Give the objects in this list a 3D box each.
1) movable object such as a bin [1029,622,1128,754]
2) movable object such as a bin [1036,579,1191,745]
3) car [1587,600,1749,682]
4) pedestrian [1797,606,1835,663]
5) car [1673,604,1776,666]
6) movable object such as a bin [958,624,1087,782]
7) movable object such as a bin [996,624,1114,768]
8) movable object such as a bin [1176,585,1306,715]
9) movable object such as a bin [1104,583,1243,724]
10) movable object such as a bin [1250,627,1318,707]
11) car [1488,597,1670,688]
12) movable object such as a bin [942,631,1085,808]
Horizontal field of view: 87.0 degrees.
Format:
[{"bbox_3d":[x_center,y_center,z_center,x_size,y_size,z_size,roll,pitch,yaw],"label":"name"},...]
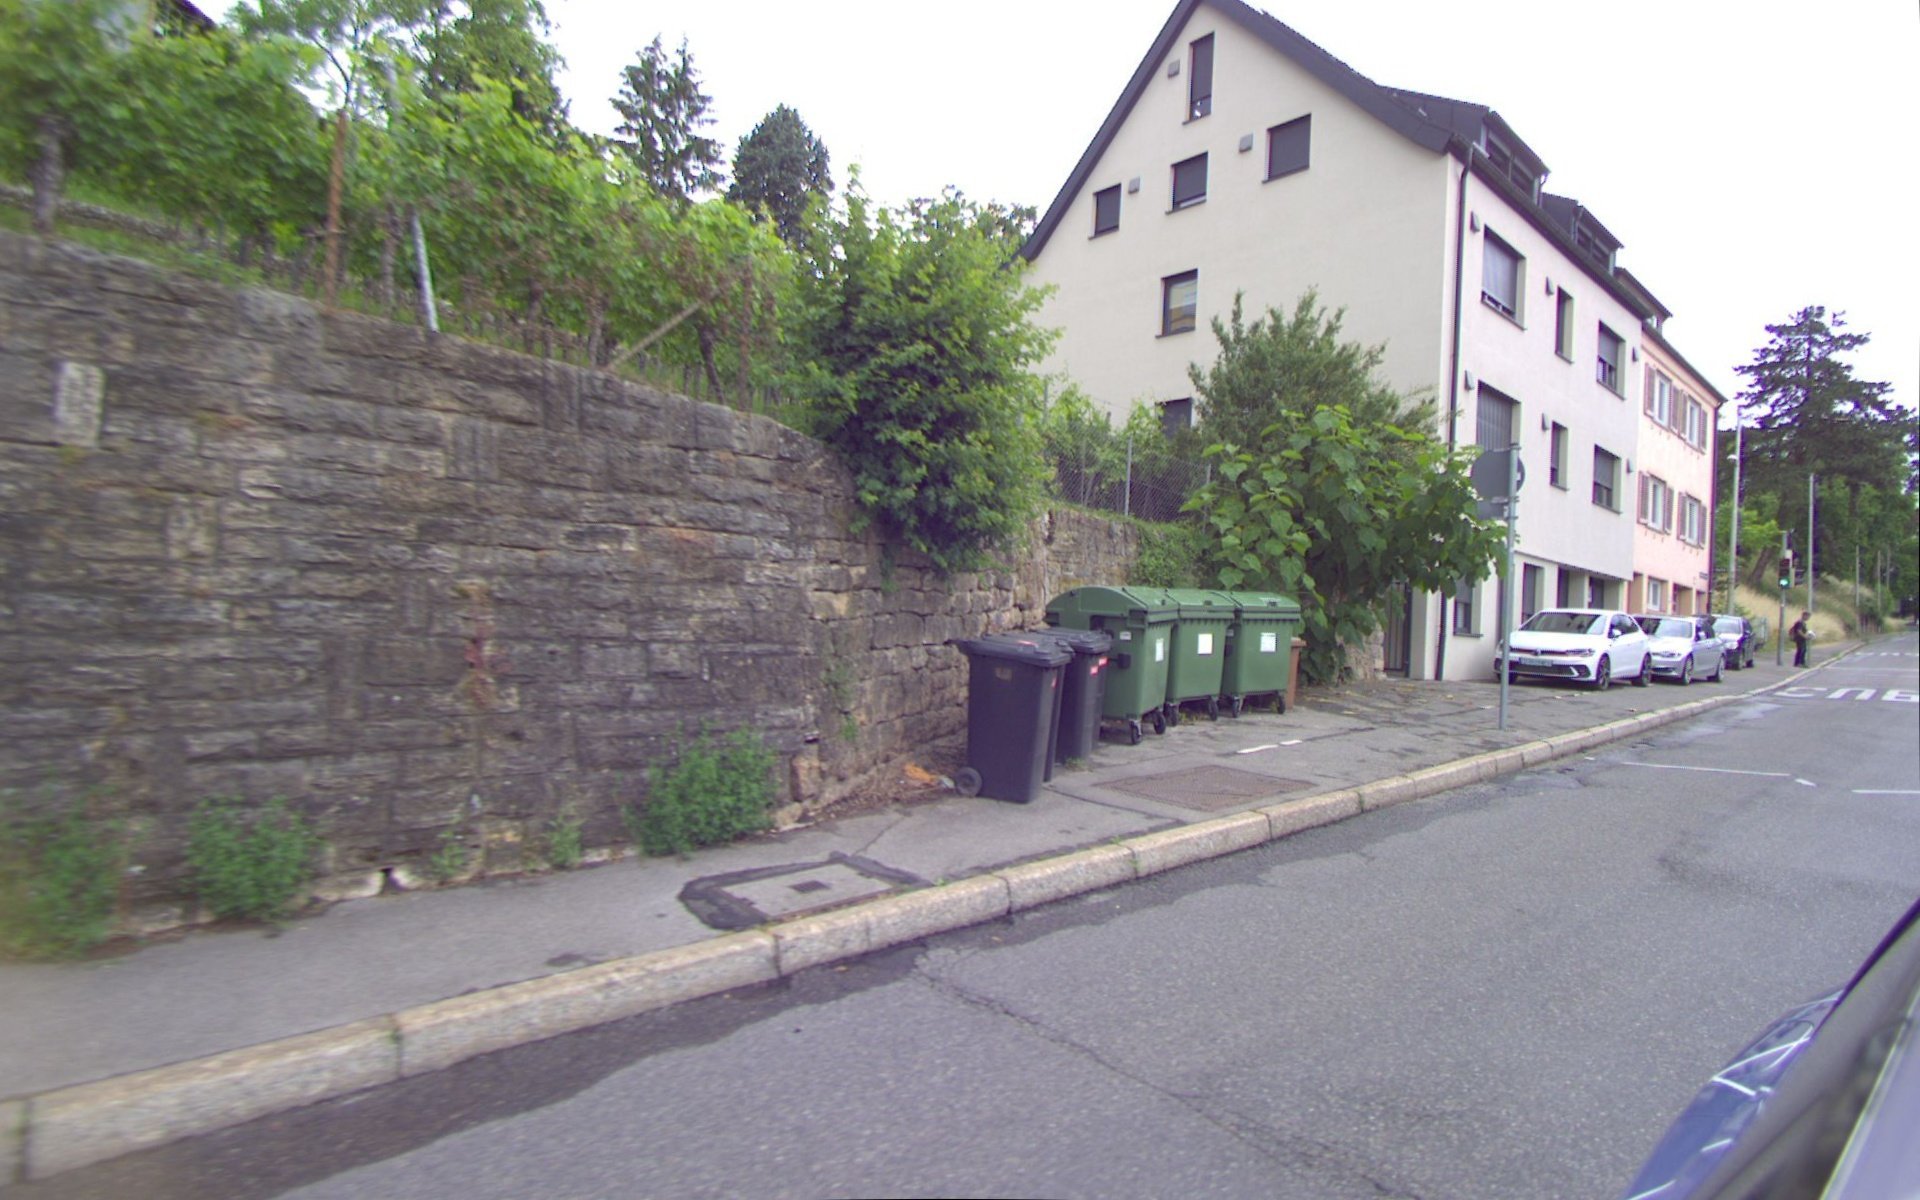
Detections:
[{"bbox_3d":[1.050,0.753,8.955,0.706,1.072,0.541,1,1,31],"label":"movable object such as a bin"},{"bbox_3d":[1.523,0.542,9.857,1.042,1.463,1.403,1,1,30],"label":"movable object such as a bin"},{"bbox_3d":[15.557,0.861,22.140,4.636,1.468,1.798,2,3,-42],"label":"car"},{"bbox_3d":[26.042,1.033,30.793,0.869,1.717,0.876,0,-1,42],"label":"pedestrian"},{"bbox_3d":[21.538,0.926,28.463,3.935,1.468,1.684,1,4,-45],"label":"car"},{"bbox_3d":[0.480,0.744,7.670,0.738,1.072,0.672,1,1,31],"label":"movable object such as a bin"},{"bbox_3d":[0.787,0.753,8.321,0.738,1.072,0.672,1,1,31],"label":"movable object such as a bin"},{"bbox_3d":[3.411,0.561,12.290,1.185,1.463,1.048,0,1,-44],"label":"movable object such as a bin"},{"bbox_3d":[2.408,0.551,11.396,1.047,1.463,1.186,2,1,43],"label":"movable object such as a bin"},{"bbox_3d":[4.143,0.835,12.942,0.629,0.954,0.595,1,1,-44],"label":"movable object such as a bin"},{"bbox_3d":[11.659,0.736,18.972,3.935,1.441,1.798,1,2,-41],"label":"car"},{"bbox_3d":[0.370,0.772,6.904,0.738,1.072,0.672,1,1,31],"label":"movable object such as a bin"}]
